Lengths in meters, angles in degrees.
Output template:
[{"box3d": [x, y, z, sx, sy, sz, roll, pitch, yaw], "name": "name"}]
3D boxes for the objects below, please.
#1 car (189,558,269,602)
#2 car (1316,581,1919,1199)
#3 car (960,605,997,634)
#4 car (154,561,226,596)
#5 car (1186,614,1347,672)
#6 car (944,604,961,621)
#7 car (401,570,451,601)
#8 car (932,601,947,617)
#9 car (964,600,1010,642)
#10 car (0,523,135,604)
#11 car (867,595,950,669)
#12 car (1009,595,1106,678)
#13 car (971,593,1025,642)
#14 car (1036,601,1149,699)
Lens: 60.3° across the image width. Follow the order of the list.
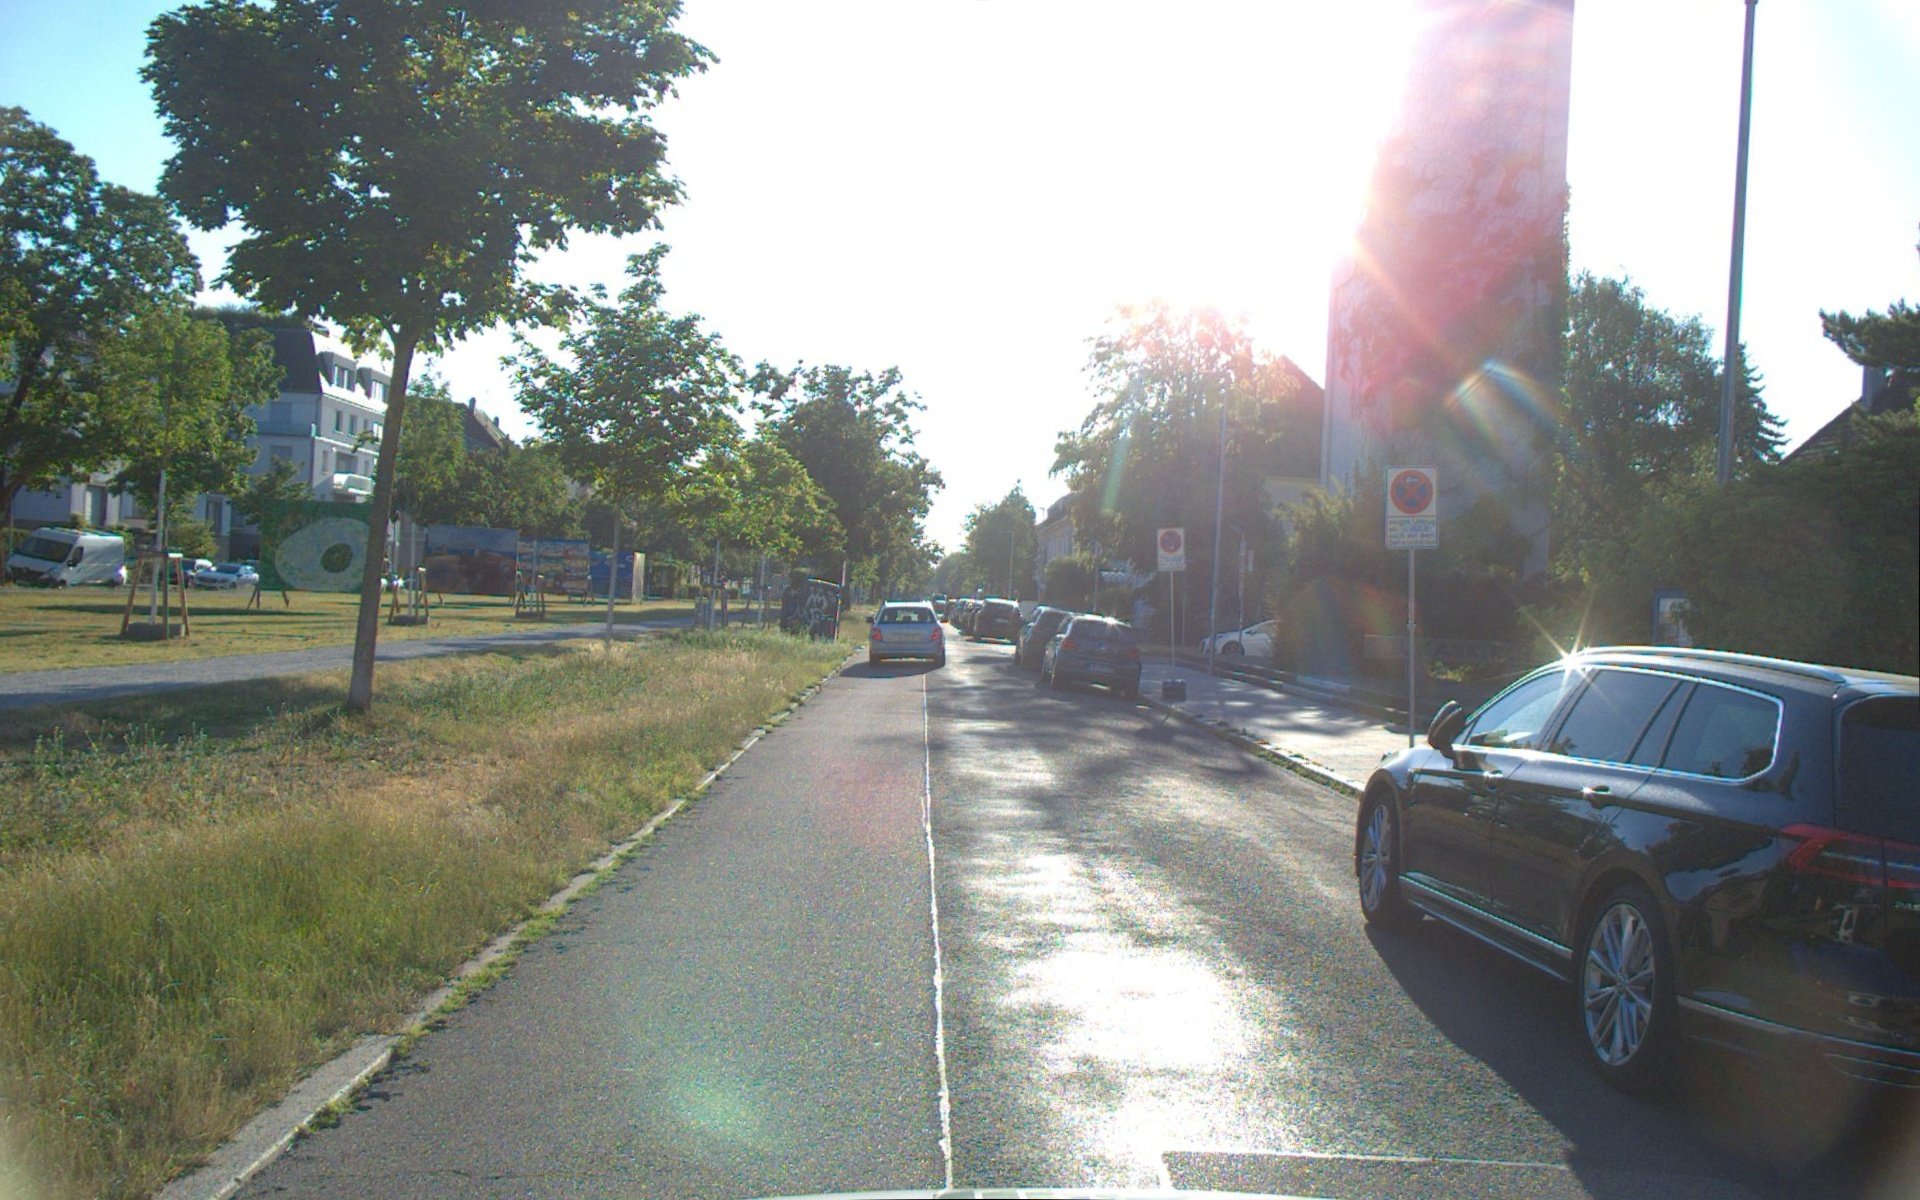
[{"box3d": [-35.119, -0.923, 79.592, 1.796, 1.933, 4.641, -1, -1, 0], "name": "car"}, {"box3d": [3.146, 0.921, 6.848, 1.955, 1.624, 4.883, 7, -1, -2], "name": "car"}, {"box3d": [1.044, 1.090, 95.286, 1.953, 1.487, 4.561, 5, 0, 0], "name": "car"}, {"box3d": [-40.899, -1.120, 87.945, 1.746, 1.732, 4.665, 0, -1, -1], "name": "car"}, {"box3d": [9.923, 1.409, 53.773, 4.750, 1.512, 2.001, 4, -4, -2], "name": "car"}, {"box3d": [-0.764, 1.259, 165.703, 1.686, 1.625, 3.999, 3, -1, -1], "name": "car"}, {"box3d": [-35.593, -0.944, 110.318, 1.889, 1.860, 4.690, 0, -1, -1], "name": "car"}, {"box3d": [-2.765, 1.212, 223.926, 1.948, 2.058, 3.999, 3, 0, -1], "name": "car"}, {"box3d": [1.262, 0.967, 79.375, 1.895, 1.750, 4.619, 6, 0, -2], "name": "car"}, {"box3d": [-34.469, -1.353, 63.980, 2.214, 2.875, 5.869, 0, -1, -1], "name": "car"}, {"box3d": [-1.163, 0.701, 38.542, 1.786, 1.594, 3.999, 2, 0, -1], "name": "car"}, {"box3d": [2.238, 0.808, 39.157, 1.787, 1.587, 4.621, 9, 0, -1], "name": "car"}, {"box3d": [1.499, 0.715, 67.540, 1.796, 1.761, 5.030, 5, -1, -2], "name": "car"}, {"box3d": [2.509, 0.911, 32.220, 1.654, 1.553, 4.174, 7, 1, -1], "name": "car"}]
